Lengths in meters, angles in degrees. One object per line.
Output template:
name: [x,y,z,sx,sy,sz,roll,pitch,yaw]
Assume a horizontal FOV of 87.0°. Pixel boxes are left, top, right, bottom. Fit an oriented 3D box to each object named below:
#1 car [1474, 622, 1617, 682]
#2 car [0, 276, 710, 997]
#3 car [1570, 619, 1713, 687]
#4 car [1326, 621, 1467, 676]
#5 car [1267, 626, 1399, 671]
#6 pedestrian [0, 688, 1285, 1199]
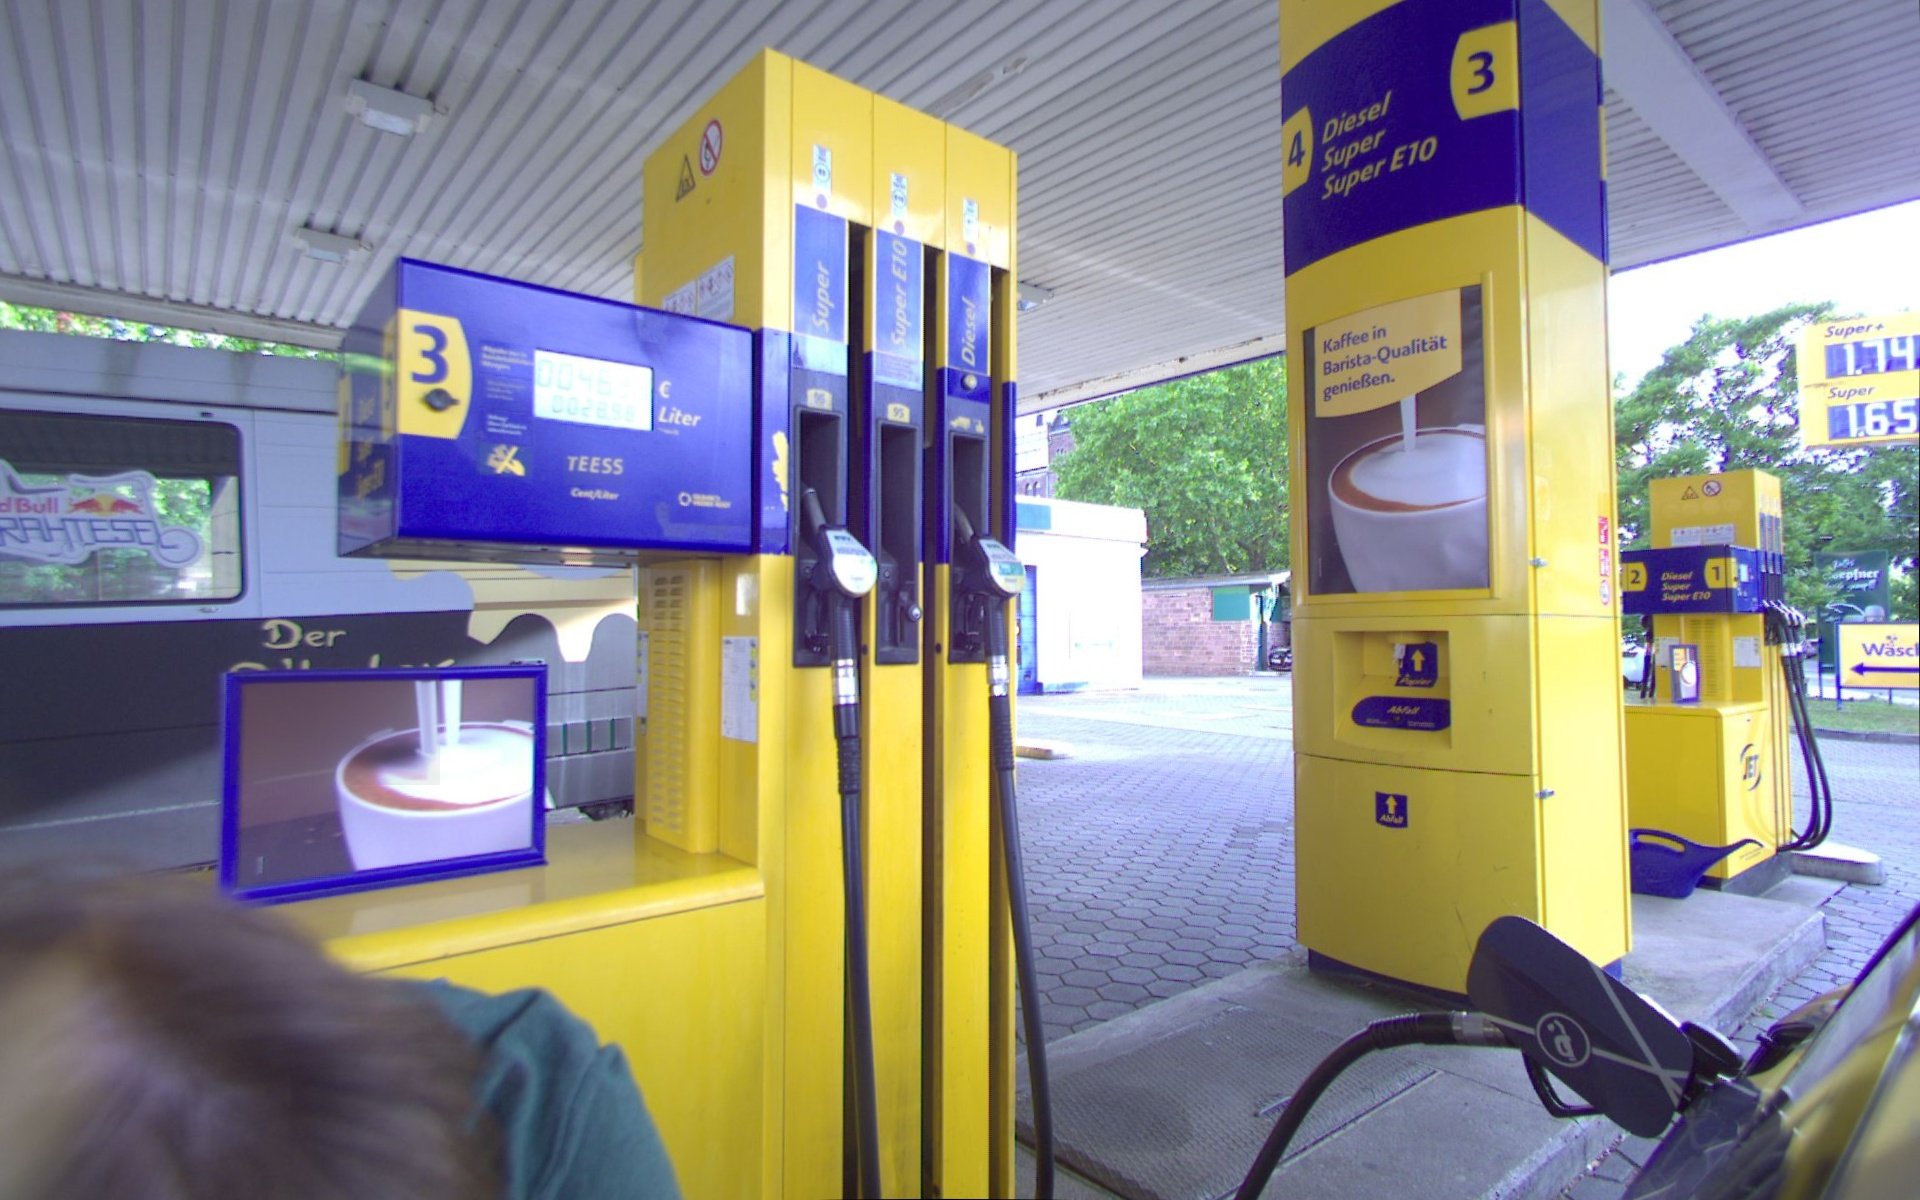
car: [17.845,1.584,30.803,4.303,1.622,1.776,4,-4,-28]
car: [-4.109,0.155,4.894,5.197,2.726,2.258,1,-2,-39]
car: [18.355,1.442,27.204,4.308,1.622,1.774,4,-4,-35]
car: [13.886,1.524,32.138,4.303,1.622,1.777,2,-1,-28]
car: [12.689,1.646,34.429,4.303,1.393,1.777,2,-1,-28]
pedestrian: [-0.335,0.745,0.547,0.662,1.298,0.751,0,0,-41]
